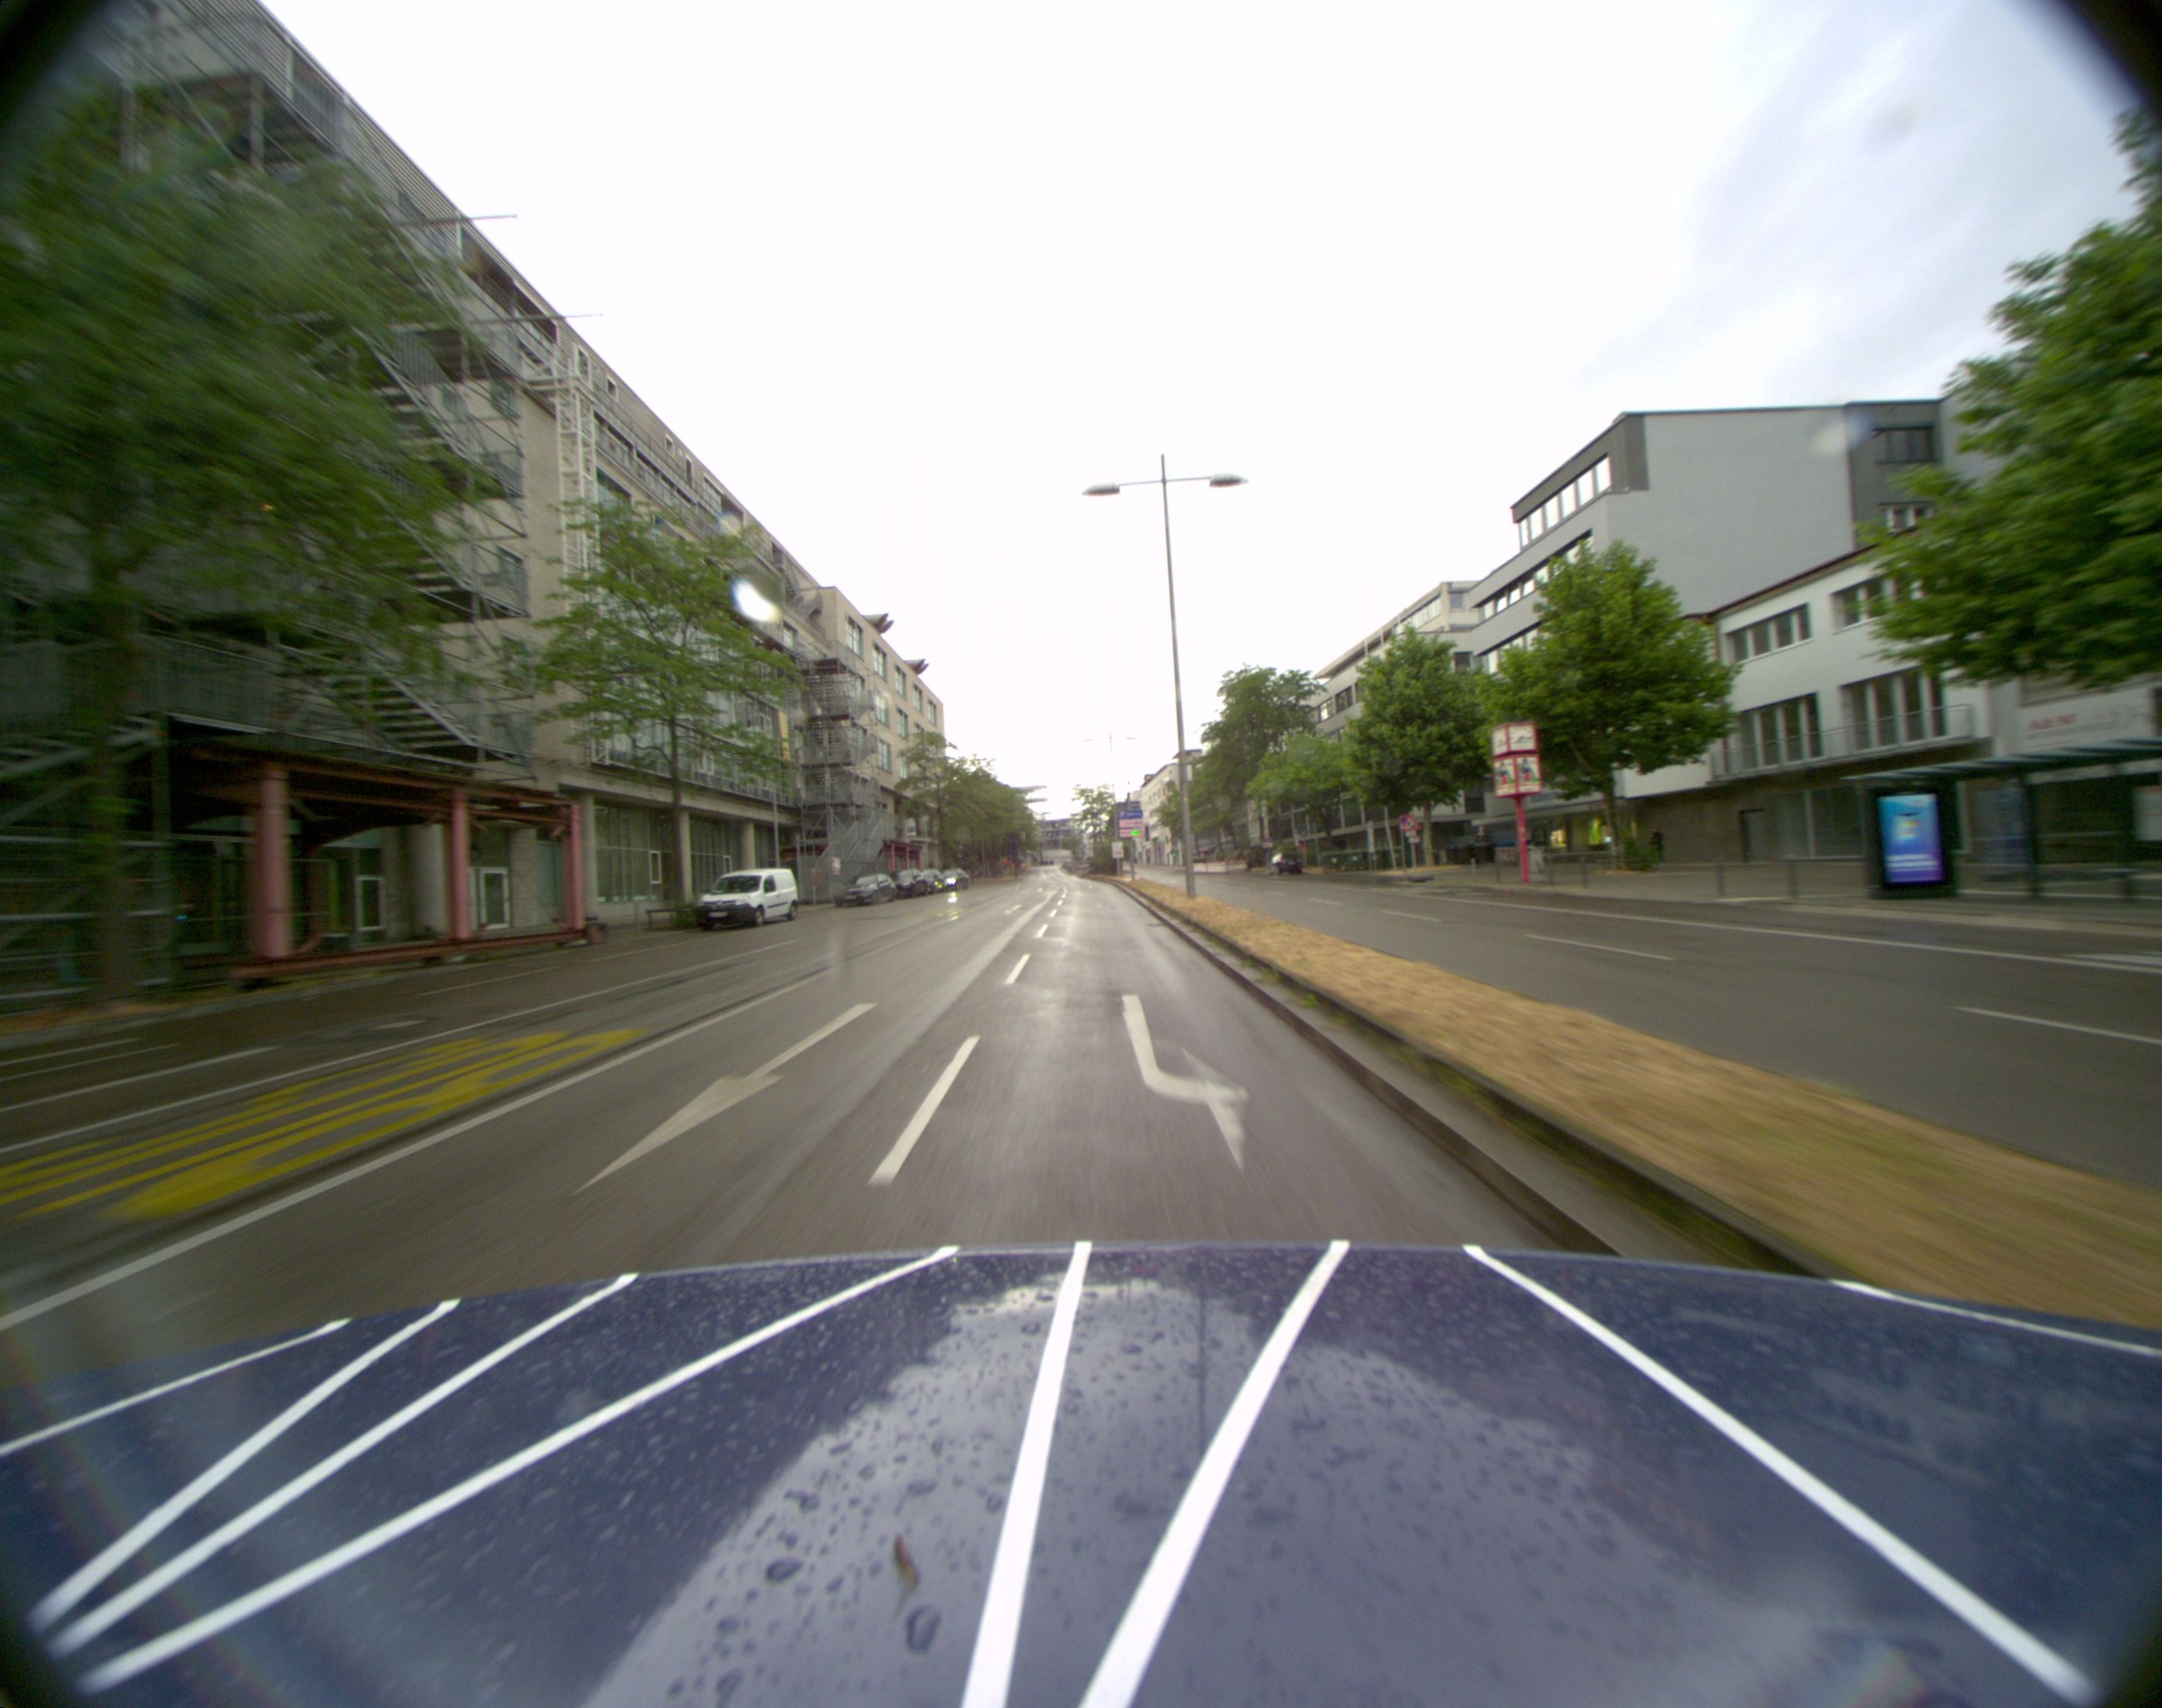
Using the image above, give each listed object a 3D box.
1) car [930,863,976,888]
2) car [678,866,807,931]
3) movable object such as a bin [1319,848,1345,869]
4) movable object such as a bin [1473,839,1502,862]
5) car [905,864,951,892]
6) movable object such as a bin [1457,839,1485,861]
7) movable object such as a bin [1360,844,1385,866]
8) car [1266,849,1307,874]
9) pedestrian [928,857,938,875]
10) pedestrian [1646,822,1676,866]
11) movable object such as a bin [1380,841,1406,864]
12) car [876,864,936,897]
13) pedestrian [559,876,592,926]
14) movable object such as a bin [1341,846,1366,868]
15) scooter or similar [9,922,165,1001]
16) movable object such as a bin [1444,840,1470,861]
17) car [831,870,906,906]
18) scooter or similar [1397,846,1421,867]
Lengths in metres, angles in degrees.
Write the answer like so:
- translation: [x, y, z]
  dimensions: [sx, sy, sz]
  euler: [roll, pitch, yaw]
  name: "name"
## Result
- translation: [-9.034, 1.520, 54.140]
  dimensions: [1.998, 1.591, 5.291]
  euler: [-3, -1, 4]
  name: "car"
- translation: [-10.640, 1.335, 24.307]
  dimensions: [1.998, 1.739, 4.527]
  euler: [-3, 0, 1]
  name: "car"
- translation: [17.322, 0.310, 52.404]
  dimensions: [1.362, 1.418, 1.088]
  euler: [-3, 0, 1]
  name: "movable object such as a bin"
- translation: [27.038, -0.232, 50.522]
  dimensions: [1.088, 1.427, 1.281]
  euler: [-3, 0, -9]
  name: "movable object such as a bin"
- translation: [-9.629, 1.499, 48.220]
  dimensions: [1.866, 1.591, 4.593]
  euler: [-3, -1, 1]
  name: "car"
- translation: [26.632, -0.294, 51.902]
  dimensions: [1.088, 1.427, 1.281]
  euler: [-3, 0, -9]
  name: "movable object such as a bin"
- translation: [20.108, 0.049, 52.431]
  dimensions: [1.281, 1.418, 1.088]
  euler: [-3, 0, 1]
  name: "movable object such as a bin"
- translation: [15.052, 0.508, 55.815]
  dimensions: [1.783, 1.626, 4.023]
  euler: [-3, 1, -2]
  name: "car"
- translation: [-16.725, 1.318, 85.788]
  dimensions: [0.871, 2.002, 0.758]
  euler: [-3, 0, -4]
  name: "pedestrian"
- translation: [23.618, -0.398, 30.940]
  dimensions: [0.698, 1.752, 0.653]
  euler: [-2, 0, 3]
  name: "pedestrian"
- translation: [21.501, -0.086, 52.423]
  dimensions: [1.281, 1.479, 1.088]
  euler: [-3, 0, 1]
  name: "movable object such as a bin"
- translation: [-9.775, 1.448, 42.846]
  dimensions: [1.998, 1.636, 4.863]
  euler: [-3, -1, 3]
  name: "car"
- translation: [-18.258, 1.695, 27.450]
  dimensions: [0.677, 1.732, 0.653]
  euler: [-2, 0, 3]
  name: "pedestrian"
- translation: [18.759, 0.189, 52.406]
  dimensions: [1.281, 1.418, 1.088]
  euler: [-3, 0, 1]
  name: "movable object such as a bin"
- translation: [-17.365, 1.843, 13.335]
  dimensions: [0.633, 1.154, 1.547]
  euler: [-3, 0, 1]
  name: "scooter or similar"
- translation: [26.445, -0.224, 53.440]
  dimensions: [1.088, 1.427, 1.281]
  euler: [-3, 0, -9]
  name: "movable object such as a bin"
- translation: [-9.964, 1.558, 36.052]
  dimensions: [1.873, 1.429, 4.922]
  euler: [-3, -1, 3]
  name: "car"
- translation: [19.433, 0.143, 45.079]
  dimensions: [0.777, 1.114, 1.324]
  euler: [-6, -3, 2]
  name: "scooter or similar"
